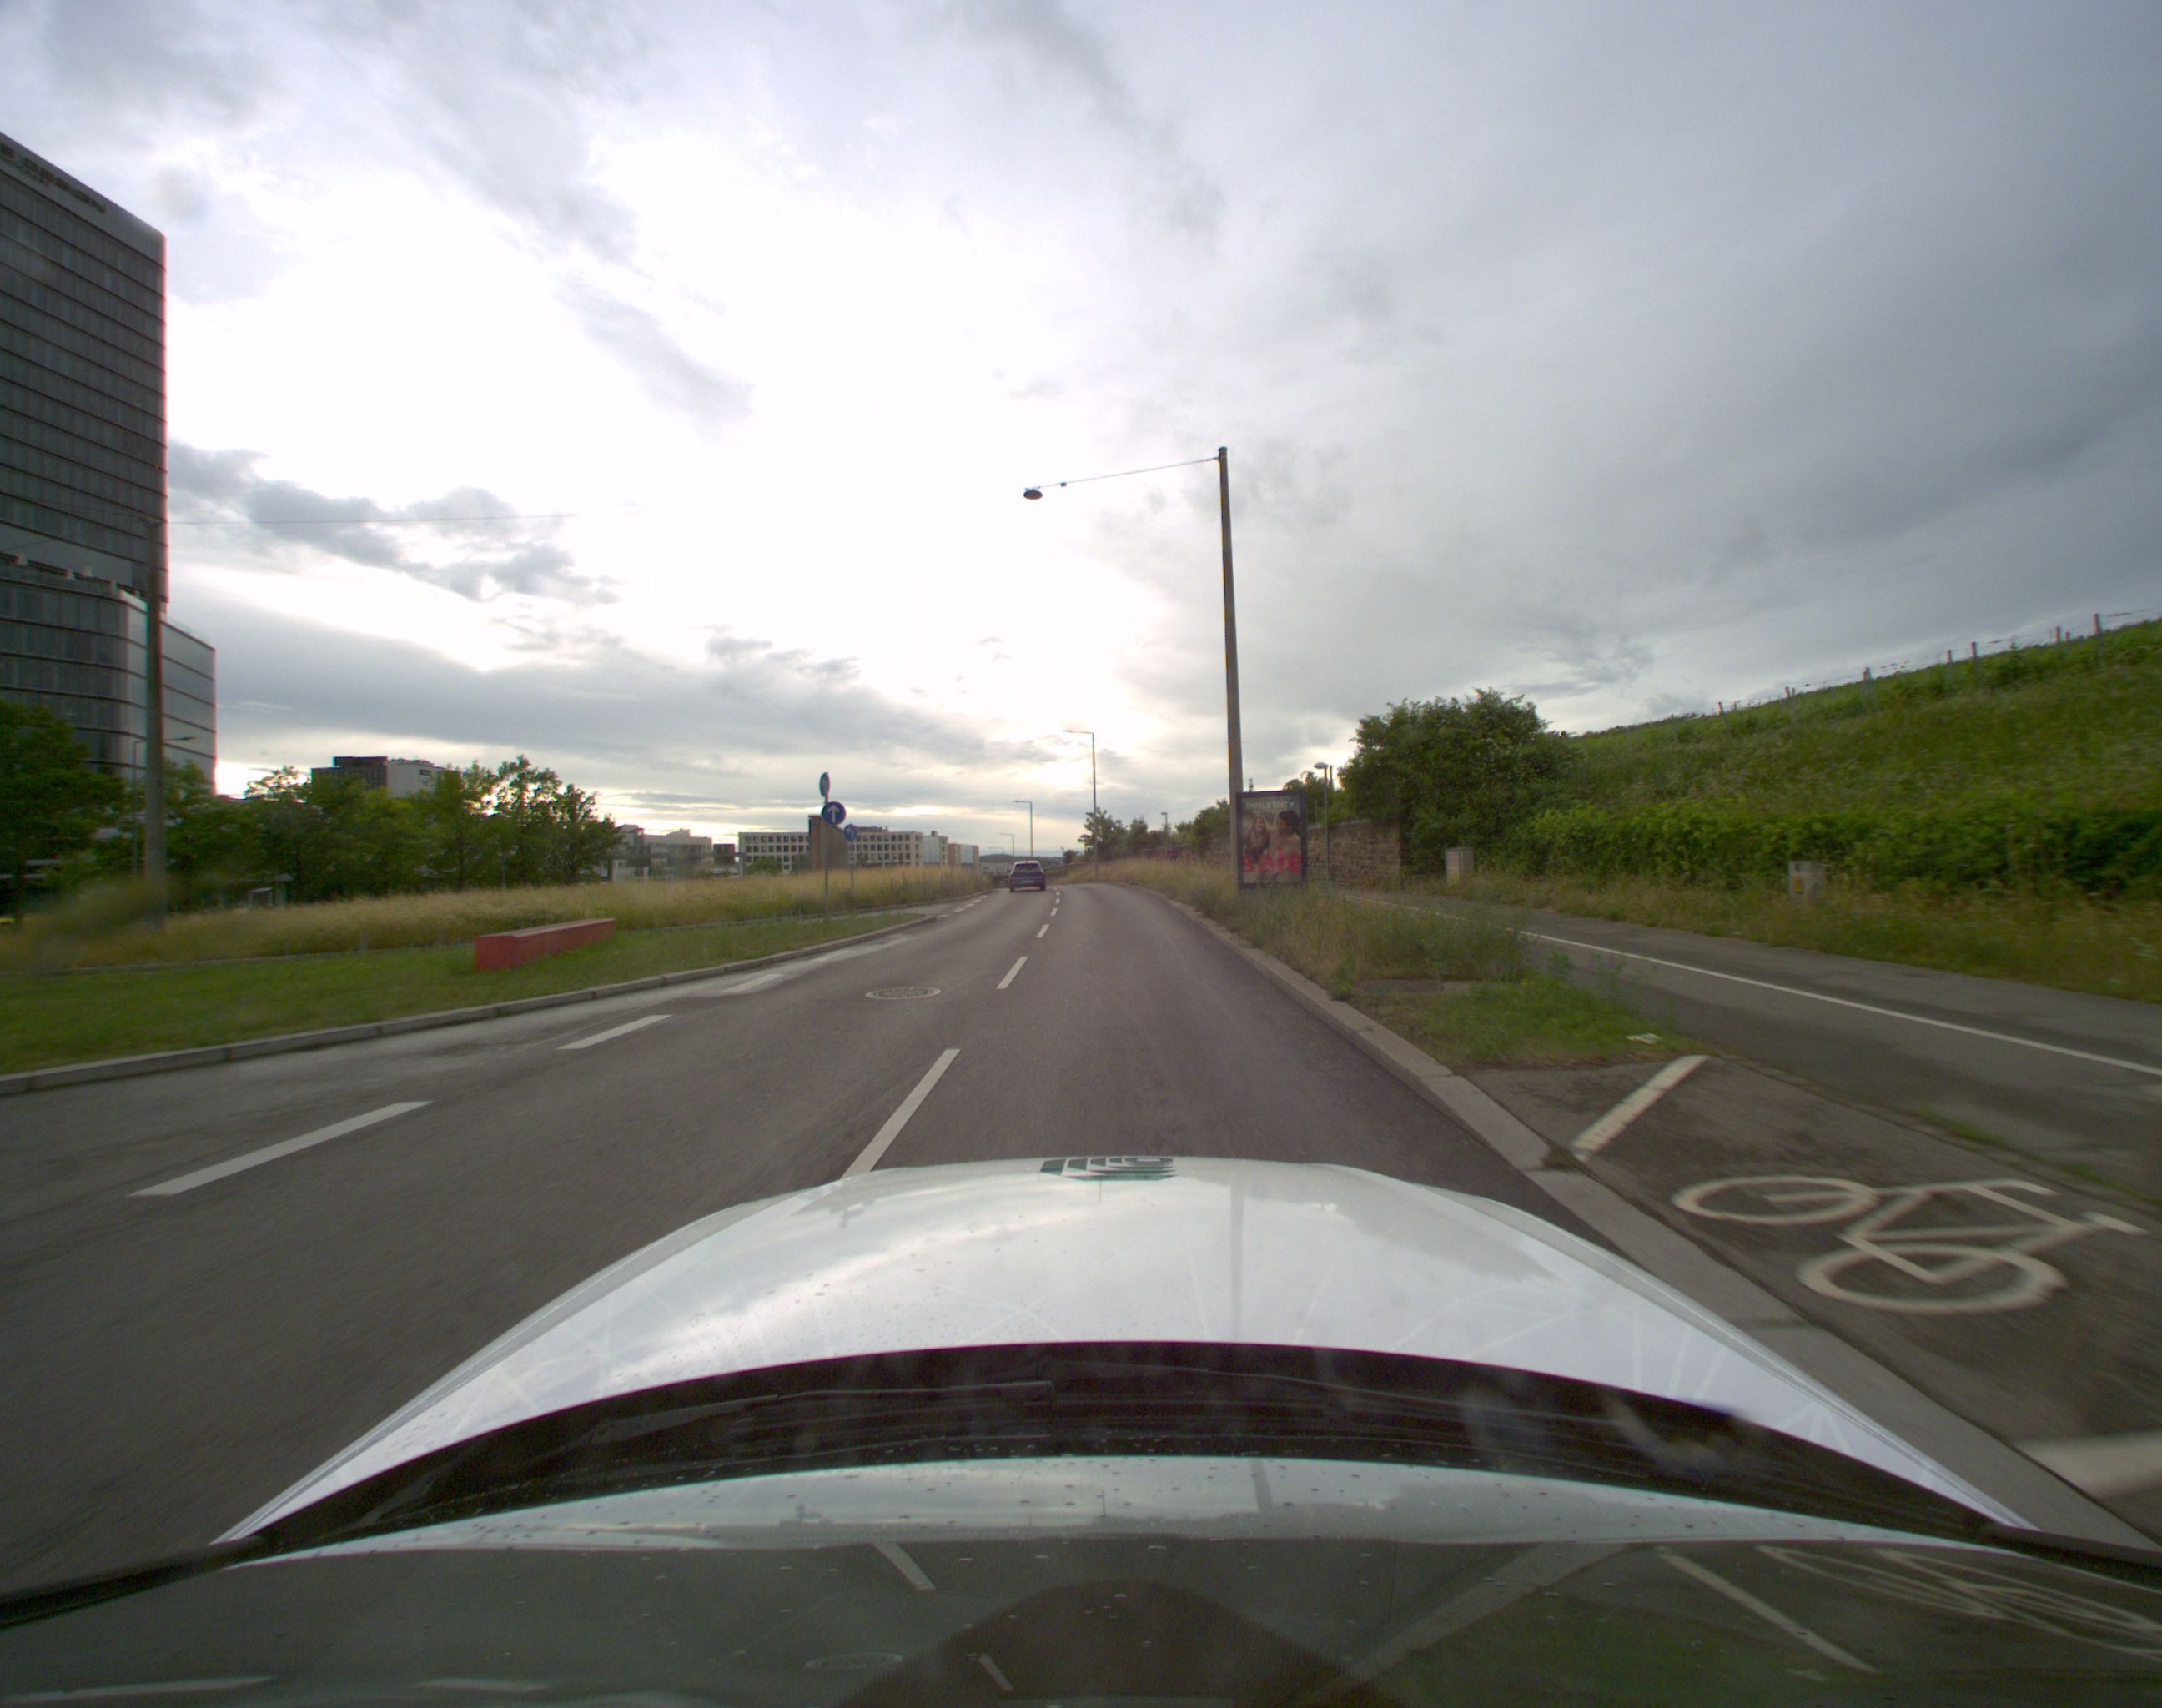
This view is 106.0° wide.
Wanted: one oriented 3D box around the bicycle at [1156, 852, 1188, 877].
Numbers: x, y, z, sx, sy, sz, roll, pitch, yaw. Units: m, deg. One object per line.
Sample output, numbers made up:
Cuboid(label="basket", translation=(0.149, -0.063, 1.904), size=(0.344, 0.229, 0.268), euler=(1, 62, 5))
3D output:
Cuboid(label="bicycle", translation=(5.499, 0.666, 49.406), size=(0.869, 1.289, 3.472), euler=(1, -5, -11))

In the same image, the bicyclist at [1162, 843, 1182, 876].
Cuboid(label="bicyclist", translation=(5.501, 0.349, 49.368), size=(0.869, 1.909, 1.288), euler=(1, -5, -12))

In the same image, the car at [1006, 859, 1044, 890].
Cuboid(label="car", translation=(-2.765, 0.985, 40.006), size=(1.746, 1.420, 3.472), euler=(1, -1, -5))

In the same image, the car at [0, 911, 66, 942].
Cuboid(label="car", translation=(-78.964, 5.369, 60.464), size=(1.977, 2.014, 4.018), euler=(0, -1, 18))
